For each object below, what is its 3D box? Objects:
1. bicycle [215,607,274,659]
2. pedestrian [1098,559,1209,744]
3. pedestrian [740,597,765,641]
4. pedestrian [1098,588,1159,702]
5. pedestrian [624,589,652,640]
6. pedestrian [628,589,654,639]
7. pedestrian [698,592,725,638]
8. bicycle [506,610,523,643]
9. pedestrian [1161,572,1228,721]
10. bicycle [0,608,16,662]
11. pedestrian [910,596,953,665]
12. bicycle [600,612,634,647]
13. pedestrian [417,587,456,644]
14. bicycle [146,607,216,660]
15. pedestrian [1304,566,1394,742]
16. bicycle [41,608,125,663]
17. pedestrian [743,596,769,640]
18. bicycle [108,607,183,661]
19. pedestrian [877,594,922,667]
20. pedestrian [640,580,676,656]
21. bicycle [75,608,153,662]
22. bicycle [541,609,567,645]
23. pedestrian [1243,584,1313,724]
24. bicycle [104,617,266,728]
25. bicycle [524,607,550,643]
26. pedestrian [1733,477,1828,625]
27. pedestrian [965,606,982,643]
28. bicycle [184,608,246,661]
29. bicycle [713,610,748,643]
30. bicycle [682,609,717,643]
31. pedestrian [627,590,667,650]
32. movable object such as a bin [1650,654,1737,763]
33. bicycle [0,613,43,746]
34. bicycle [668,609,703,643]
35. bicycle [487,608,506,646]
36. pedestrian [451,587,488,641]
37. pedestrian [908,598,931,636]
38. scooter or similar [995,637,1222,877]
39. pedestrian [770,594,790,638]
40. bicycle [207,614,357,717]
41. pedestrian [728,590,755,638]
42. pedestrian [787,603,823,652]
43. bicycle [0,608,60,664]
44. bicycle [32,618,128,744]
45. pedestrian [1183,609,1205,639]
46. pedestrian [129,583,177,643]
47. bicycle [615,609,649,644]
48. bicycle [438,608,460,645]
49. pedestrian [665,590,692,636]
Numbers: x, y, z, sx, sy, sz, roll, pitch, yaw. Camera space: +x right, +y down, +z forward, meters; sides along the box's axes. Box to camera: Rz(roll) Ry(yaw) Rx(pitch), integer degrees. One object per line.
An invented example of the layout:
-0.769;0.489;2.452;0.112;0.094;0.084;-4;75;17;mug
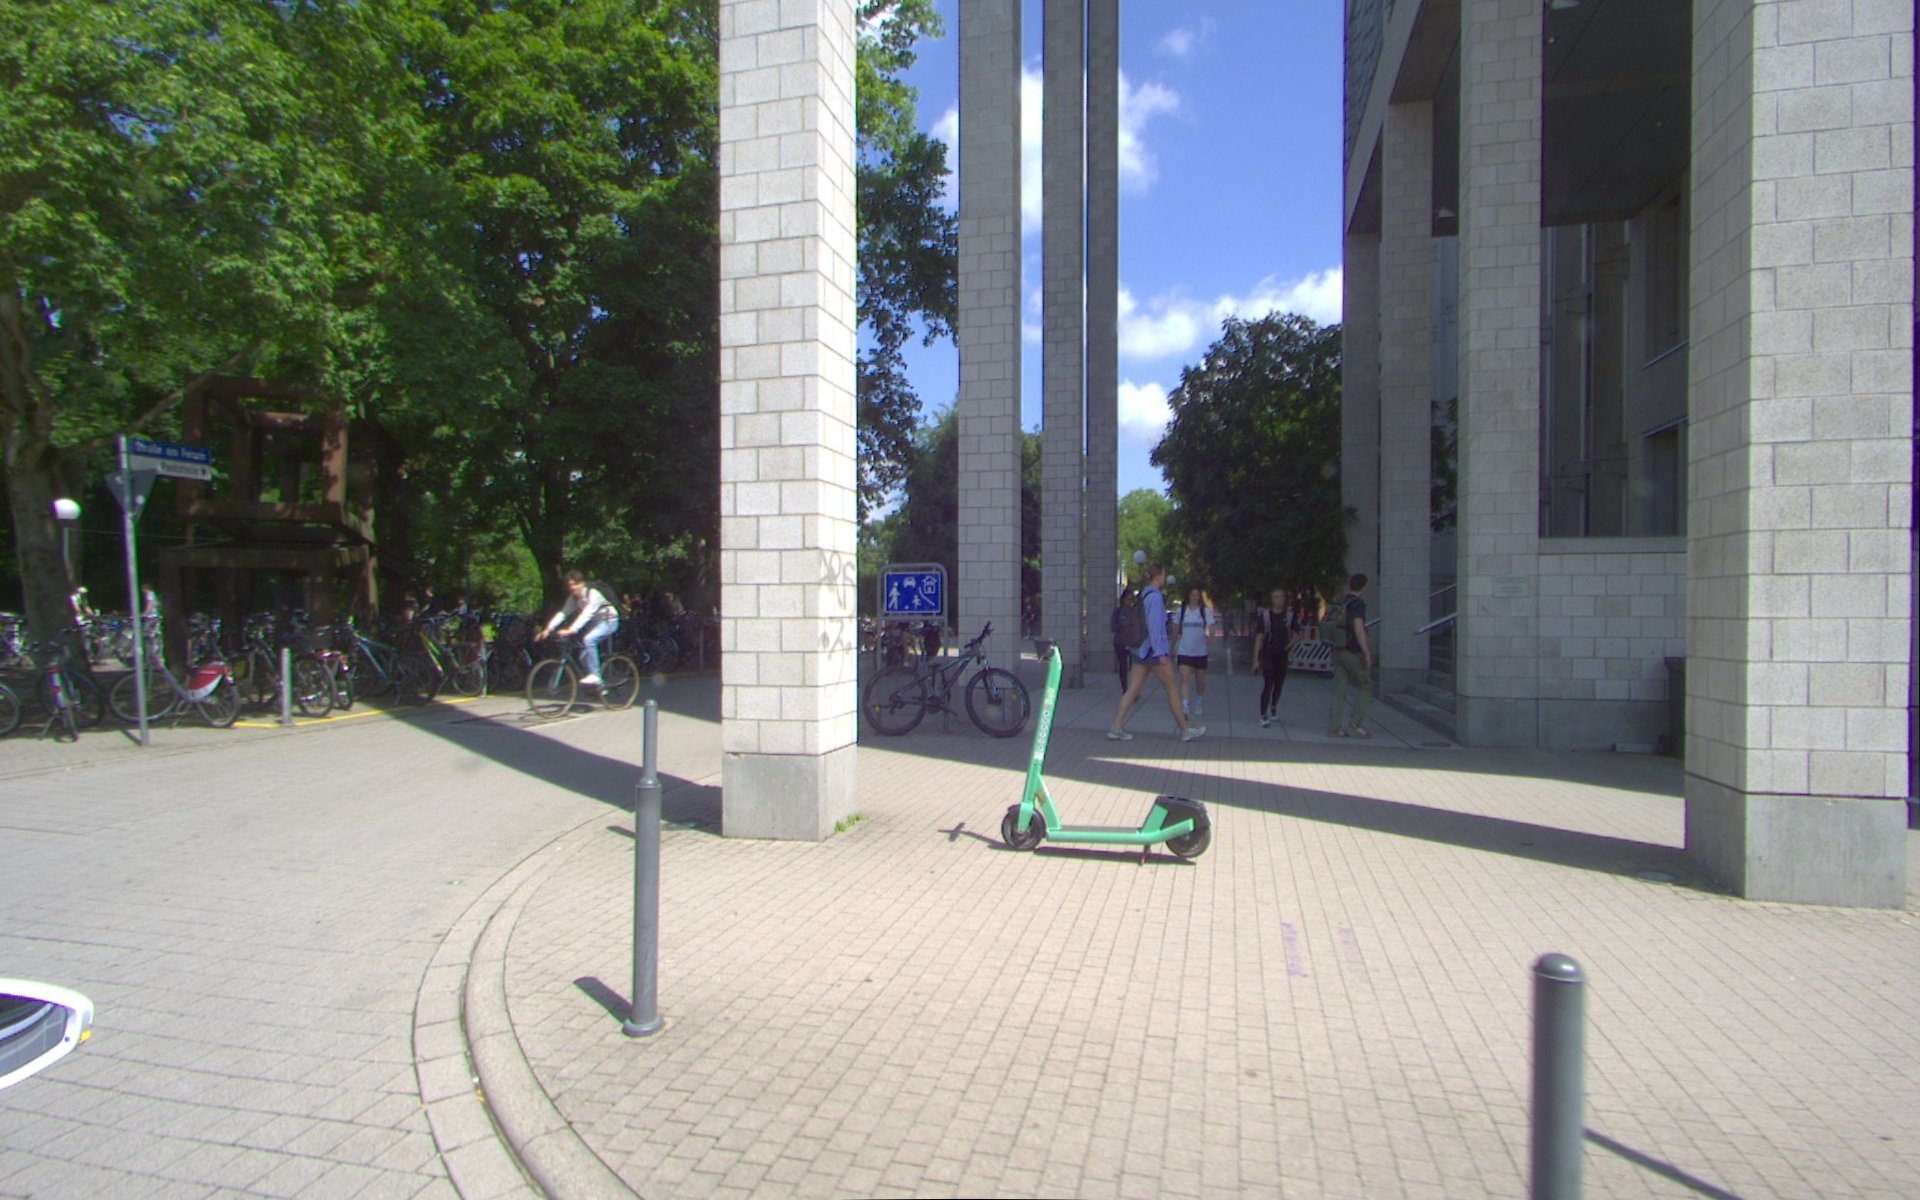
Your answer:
-16.102;0.722;22.573;0.494;1.122;1.903;1;-1;-18;bicycle
1.900;0.493;9.867;0.851;1.747;0.642;1;0;-20;pedestrian
-8.305;0.755;40.074;0.891;1.702;0.768;1;0;-18;pedestrian
2.461;0.635;14.645;0.804;1.595;0.880;2;1;9;pedestrian
-11.532;0.515;35.856;0.891;1.798;0.768;1;0;-18;pedestrian
-11.689;0.517;36.700;0.891;1.798;0.768;1;0;-18;pedestrian
-9.447;0.564;38.041;0.891;1.702;0.768;1;0;-18;pedestrian
-13.724;0.812;30.846;0.445;0.974;1.734;1;-1;-24;bicycle
2.882;0.549;12.289;0.765;1.747;0.859;0;1;15;pedestrian
-20.469;0.734;20.674;0.494;1.122;2.002;1;-1;-15;bicycle
-0.698;0.736;24.349;0.797;1.638;0.736;0;0;-32;pedestrian
-11.139;0.948;32.497;0.469;1.098;1.685;1;0;-39;bicycle
-16.886;0.502;32.303;0.890;1.798;0.769;1;0;-8;pedestrian
-17.245;0.715;22.207;0.494;1.122;1.904;1;-1;-15;bicycle
4.165;0.564;10.741;0.673;1.827;0.589;0;1;-16;pedestrian
-18.822;0.745;21.543;0.494;1.122;2.002;1;-1;-15;bicycle
-8.027;0.720;39.305;0.891;1.702;0.768;1;0;-18;pedestrian
-17.685;0.724;21.787;0.494;1.122;1.904;1;-1;-15;bicycle
-1.428;0.701;23.635;0.667;1.692;0.892;0;1;-37;pedestrian
-7.477;0.443;24.835;0.755;1.830;0.709;1;0;-11;pedestrian
-18.320;0.740;21.725;0.494;1.122;1.904;1;-1;-15;bicycle
-12.849;0.834;31.697;0.468;1.098;1.689;1;0;-32;bicycle
3.780;0.624;11.955;0.578;1.620;0.827;0;1;1;pedestrian
-8.360;0.761;10.810;1.600;1.123;0.496;0;2;15;bicycle
-13.291;0.773;31.431;0.468;1.098;1.689;1;0;-32;bicycle
10.586;-0.604;12.950;0.691;1.827;0.880;0;1;22;pedestrian
0.633;1.149;46.992;0.755;1.702;0.907;0;1;5;pedestrian
-16.586;0.755;22.333;0.494;1.122;1.903;1;-1;-18;bicycle
-7.923;0.896;34.486;0.469;1.098;1.685;1;0;-39;bicycle
-8.878;0.884;34.049;0.469;1.098;1.685;1;0;-39;bicycle
-9.103;0.585;29.146;0.896;1.725;0.764;1;0;-37;pedestrian
6.743;0.982;9.223;0.366;0.950;0.552;1;0;-4;movable object such as a bin
-9.417;0.744;9.722;1.612;1.175;0.633;1;2;44;bicycle
-9.242;0.874;33.725;0.469;1.098;1.685;1;0;-39;bicycle
-14.179;0.812;30.662;0.466;1.098;1.693;1;0;-24;bicycle
-16.593;0.469;33.875;0.890;1.798;0.769;1;0;-7;pedestrian
-1.983;0.820;48.766;0.757;1.828;0.981;1;0;23;pedestrian
0.798;0.796;5.382;1.138;1.166;0.443;0;1;20;scooter or similar
-7.086;0.624;39.369;0.675;1.747;0.729;0;1;-21;pedestrian
-7.847;0.739;11.595;1.600;1.123;0.496;0;2;15;bicycle
-8.118;0.510;37.164;0.673;1.747;0.731;2;0;13;pedestrian
-5.615;0.994;36.283;1.053;1.747;0.712;0;1;-42;pedestrian
-19.779;0.727;20.975;0.494;1.122;2.002;1;-1;-15;bicycle
-8.993;0.772;10.212;1.727;1.123;0.585;1;2;44;bicycle
15.102;1.563;64.642;0.875;1.882;1.027;2;0;-28;pedestrian
-24.874;0.393;30.873;0.890;1.798;0.769;1;0;16;pedestrian
-10.800;0.866;32.947;0.469;1.098;1.685;1;0;-39;bicycle
-15.462;0.784;30.298;0.466;1.098;1.693;1;0;-24;bicycle
-10.399;0.481;36.991;0.891;1.702;0.768;1;0;-18;pedestrian
